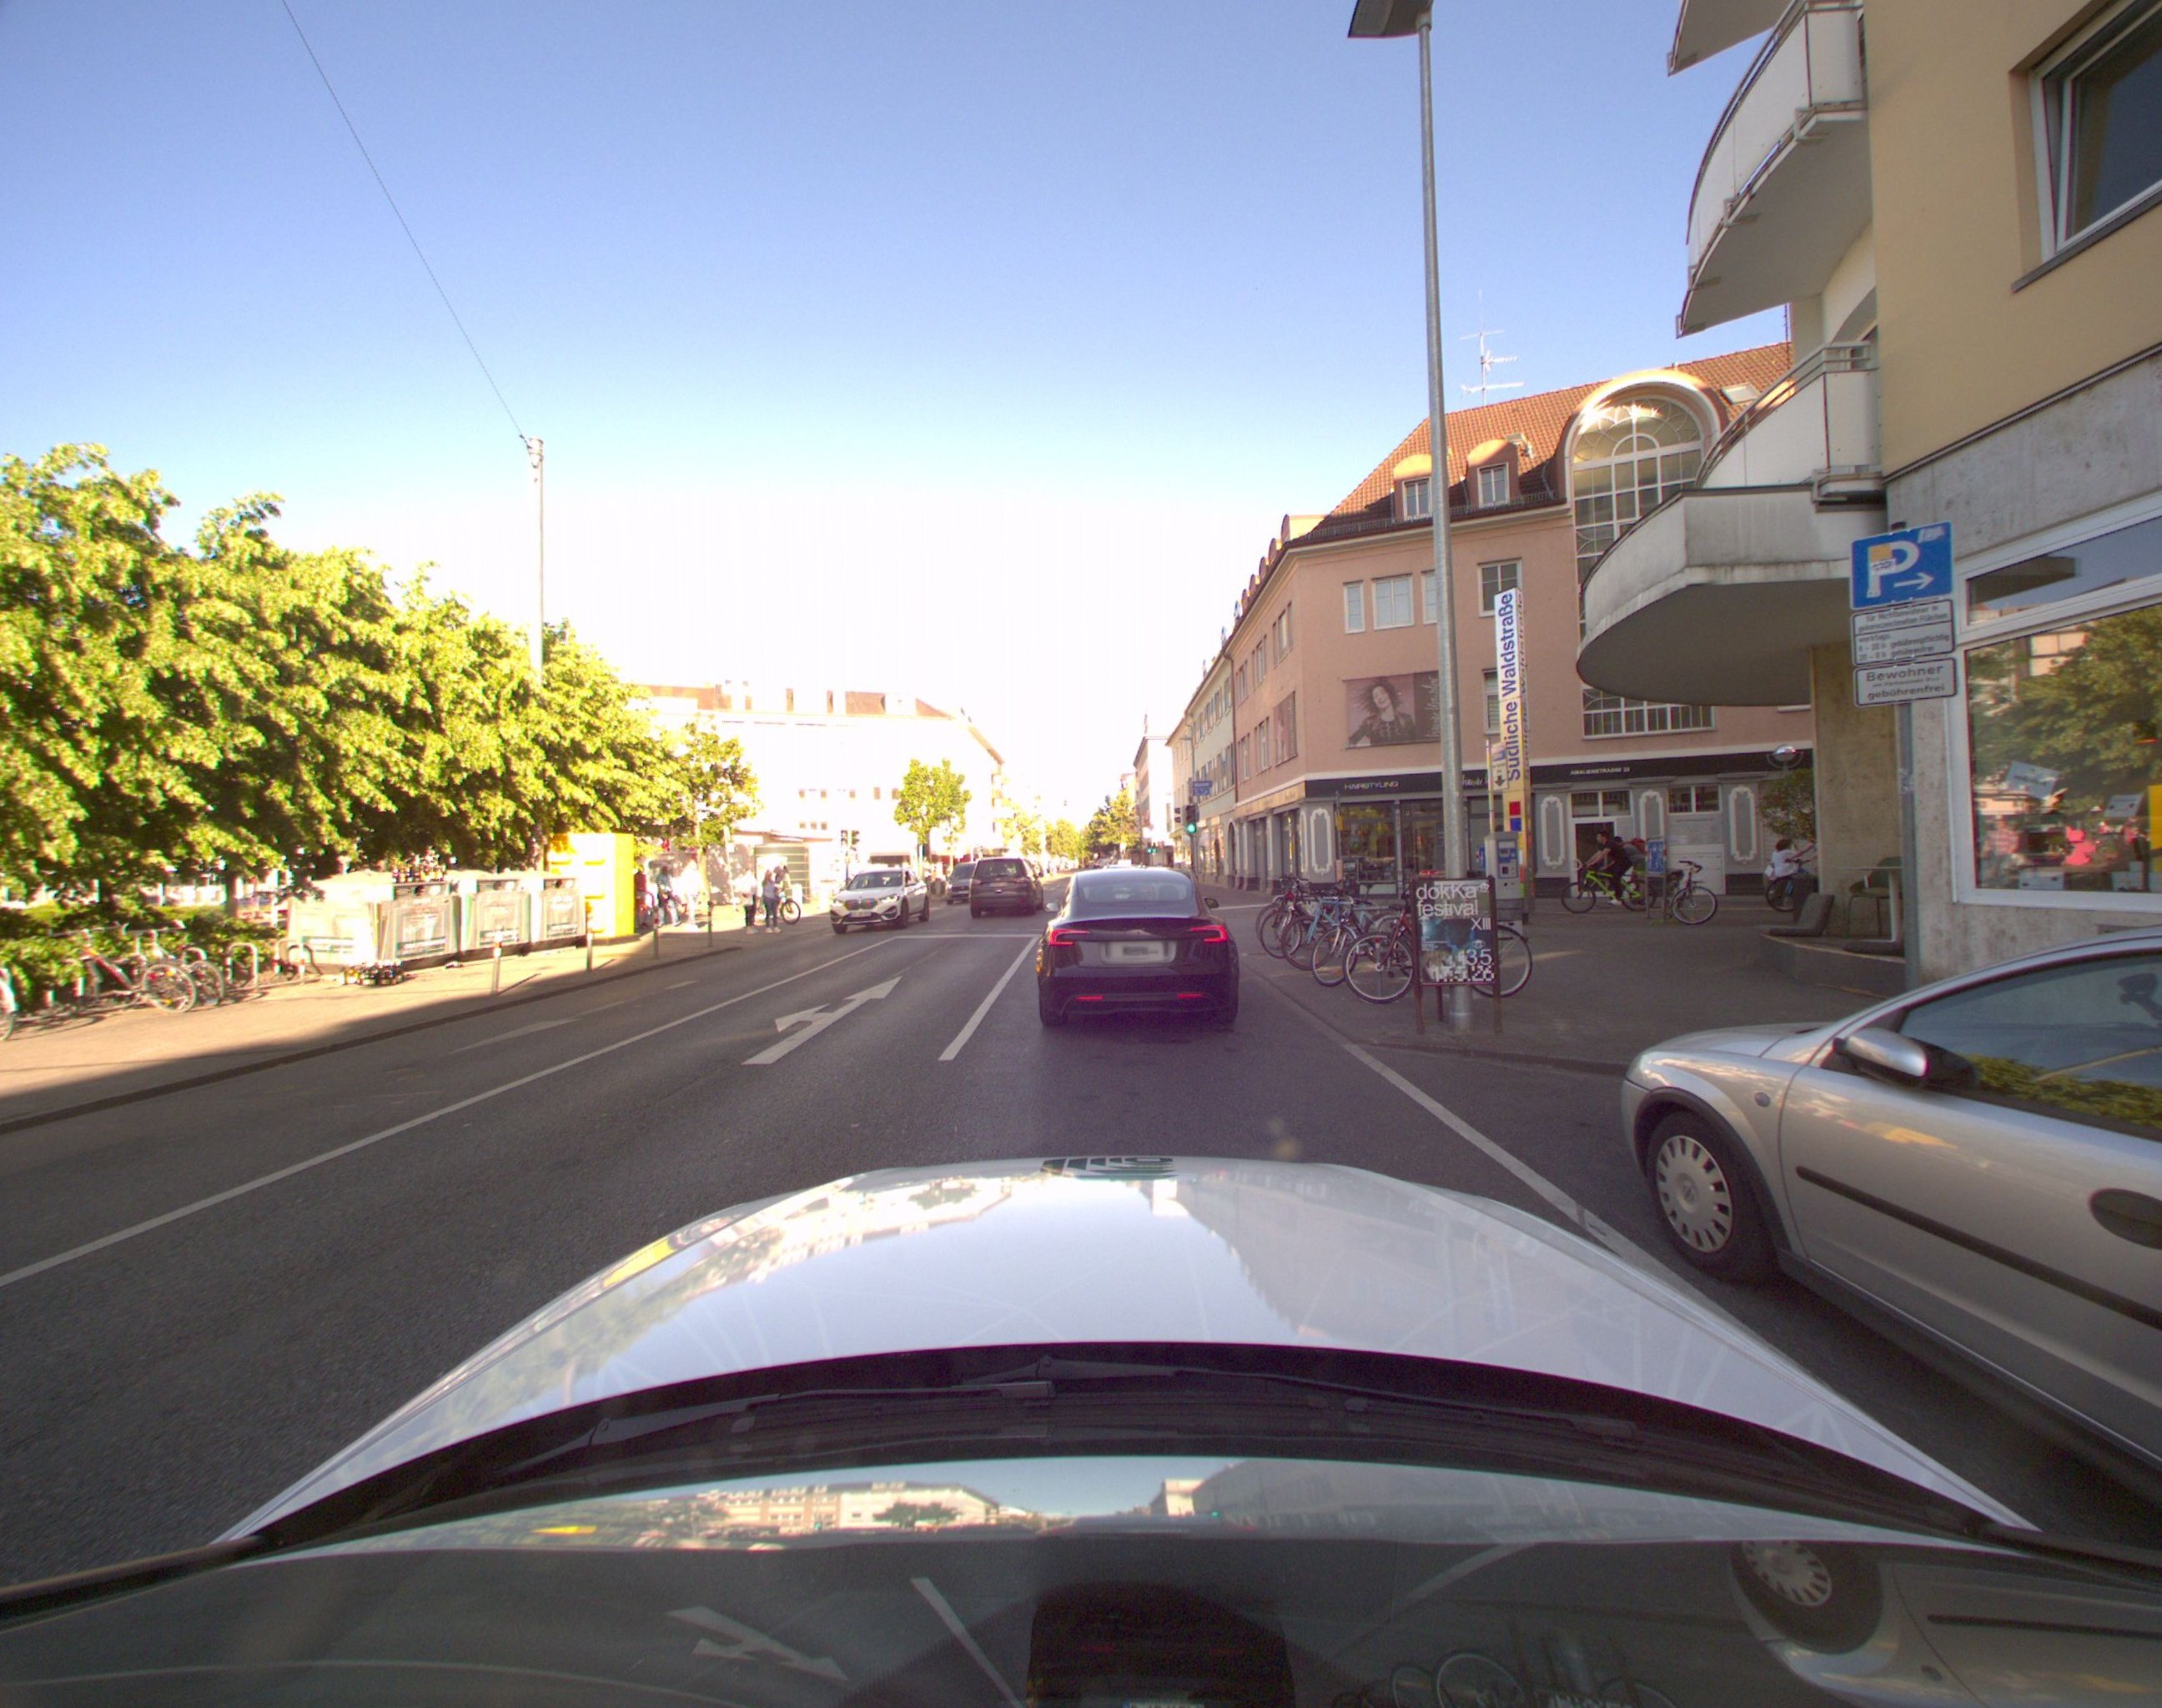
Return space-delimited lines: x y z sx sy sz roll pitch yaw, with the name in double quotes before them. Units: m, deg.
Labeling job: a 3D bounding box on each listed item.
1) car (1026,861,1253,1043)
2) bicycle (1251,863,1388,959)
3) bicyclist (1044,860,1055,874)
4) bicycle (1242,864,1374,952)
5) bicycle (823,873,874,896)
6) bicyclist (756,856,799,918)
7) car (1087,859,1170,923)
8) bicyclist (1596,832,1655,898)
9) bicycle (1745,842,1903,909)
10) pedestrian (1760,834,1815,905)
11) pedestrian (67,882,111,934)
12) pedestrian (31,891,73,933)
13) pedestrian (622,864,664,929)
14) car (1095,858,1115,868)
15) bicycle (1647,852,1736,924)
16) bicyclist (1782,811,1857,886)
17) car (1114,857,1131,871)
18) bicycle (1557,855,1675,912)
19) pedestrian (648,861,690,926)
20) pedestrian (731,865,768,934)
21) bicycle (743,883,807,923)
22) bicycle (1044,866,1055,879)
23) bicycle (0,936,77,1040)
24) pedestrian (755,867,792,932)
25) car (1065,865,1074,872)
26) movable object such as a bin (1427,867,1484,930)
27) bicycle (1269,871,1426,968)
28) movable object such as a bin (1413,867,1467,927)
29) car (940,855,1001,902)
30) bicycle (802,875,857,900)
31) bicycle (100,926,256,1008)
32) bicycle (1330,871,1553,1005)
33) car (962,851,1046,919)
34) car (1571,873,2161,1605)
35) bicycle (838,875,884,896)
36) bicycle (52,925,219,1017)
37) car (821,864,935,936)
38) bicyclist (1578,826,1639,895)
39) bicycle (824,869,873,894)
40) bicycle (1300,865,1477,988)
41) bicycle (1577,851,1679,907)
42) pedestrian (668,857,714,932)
"car" 0.543 0.833 8.721 1.841 1.455 4.001 -1 -1 2
"bicycle" 3.429 0.804 11.858 1.738 1.267 0.782 -3 -1 4
"bicyclist" -3.641 1.510 94.045 1.123 1.628 0.965 -1 -1 -2
"bicycle" 3.544 0.839 12.886 1.851 1.258 0.834 -3 -1 7
"bicycle" -12.477 1.637 43.705 2.453 1.156 0.842 -1 -1 0
"bicyclist" -9.207 0.990 24.712 0.941 1.838 0.793 -1 -1 26
"car" 1.163 0.904 21.716 1.987 1.512 4.175 -1 -1 0
"bicyclist" 12.371 0.245 18.536 0.938 1.449 0.810 -2 -1 21
"bicycle" 14.426 0.423 15.904 2.151 1.222 0.685 -2 -1 33
"pedestrian" 15.797 0.339 18.233 0.740 1.552 0.703 -1 -1 25
"pedestrian" -39.692 2.148 32.582 1.169 2.014 0.937 -2 -1 31
"pedestrian" -51.702 2.900 40.931 1.048 2.014 0.813 -1 -1 0
"pedestrian" -12.256 1.186 22.800 0.885 1.768 0.657 -2 -1 33
"car" 4.933 1.873 165.836 3.974 2.014 2.000 -1 -1 0
"bicycle" 10.946 0.575 14.692 0.653 1.199 2.223 -2 -1 21
"bicyclist" 14.398 -0.095 15.905 0.914 1.414 0.811 -2 -1 32
"car" 5.065 1.164 99.041 1.986 1.629 4.001 -1 -1 2
"bicycle" 11.414 0.637 17.462 1.951 1.149 0.795 -2 -1 21
"pedestrian" -11.860 1.132 23.451 0.835 1.827 0.746 -2 -1 35
"pedestrian" -8.556 1.157 21.045 0.541 1.728 0.679 -2 -1 34
"bicycle" -9.294 1.477 24.735 2.042 1.139 0.541 0 0 25
"bicycle" -3.615 2.125 93.945 1.108 1.344 3.998 -1 0 -1
"bicycle" -11.530 1.388 8.509 1.590 1.018 0.430 0 -1 2
"pedestrian" -8.165 1.197 21.609 0.676 1.663 0.625 -2 -1 37
"car" -2.689 3.298 185.517 1.988 1.637 3.998 -1 -1 -1
"movable object such as a bin" 6.664 0.784 14.517 0.749 1.092 0.628 0 -1 3
"bicycle" 3.445 0.840 10.677 1.788 1.124 0.783 -3 -1 7
"movable object such as a bin" 6.672 0.793 15.155 0.730 1.092 0.628 0 -1 3
"car" -4.916 1.052 36.909 1.827 1.845 4.675 -5 0 1
"bicycle" -12.681 1.694 41.174 2.497 1.156 0.842 -1 -1 0
"bicycle" -11.439 1.429 10.332 1.517 0.958 0.430 -1 0 3
"bicycle" 3.563 0.823 8.190 1.876 1.193 0.693 -3 0 7
"car" -2.221 0.869 24.731 1.987 1.772 4.728 -2 0 0
"car" 2.903 0.763 1.775 1.607 1.382 3.644 0 0 2
"bicycle" -13.054 1.871 48.408 2.528 1.156 0.841 -1 -1 -4
"bicycle" -11.395 1.401 9.828 1.561 1.023 0.430 -1 -1 2
"car" -5.320 1.143 21.956 1.801 1.555 4.310 -5 0 1
"bicyclist" 11.316 0.142 17.498 0.915 1.414 0.810 -2 -1 21
"bicycle" -13.009 1.528 45.652 2.472 1.324 0.921 -1 -1 -4
"bicycle" 3.466 0.803 9.325 1.713 1.268 0.792 -3 -1 7
"bicycle" 12.395 0.560 18.508 1.778 1.222 0.684 -2 -1 21
"pedestrian" -10.376 1.051 21.659 0.823 1.955 0.712 0 -1 13
